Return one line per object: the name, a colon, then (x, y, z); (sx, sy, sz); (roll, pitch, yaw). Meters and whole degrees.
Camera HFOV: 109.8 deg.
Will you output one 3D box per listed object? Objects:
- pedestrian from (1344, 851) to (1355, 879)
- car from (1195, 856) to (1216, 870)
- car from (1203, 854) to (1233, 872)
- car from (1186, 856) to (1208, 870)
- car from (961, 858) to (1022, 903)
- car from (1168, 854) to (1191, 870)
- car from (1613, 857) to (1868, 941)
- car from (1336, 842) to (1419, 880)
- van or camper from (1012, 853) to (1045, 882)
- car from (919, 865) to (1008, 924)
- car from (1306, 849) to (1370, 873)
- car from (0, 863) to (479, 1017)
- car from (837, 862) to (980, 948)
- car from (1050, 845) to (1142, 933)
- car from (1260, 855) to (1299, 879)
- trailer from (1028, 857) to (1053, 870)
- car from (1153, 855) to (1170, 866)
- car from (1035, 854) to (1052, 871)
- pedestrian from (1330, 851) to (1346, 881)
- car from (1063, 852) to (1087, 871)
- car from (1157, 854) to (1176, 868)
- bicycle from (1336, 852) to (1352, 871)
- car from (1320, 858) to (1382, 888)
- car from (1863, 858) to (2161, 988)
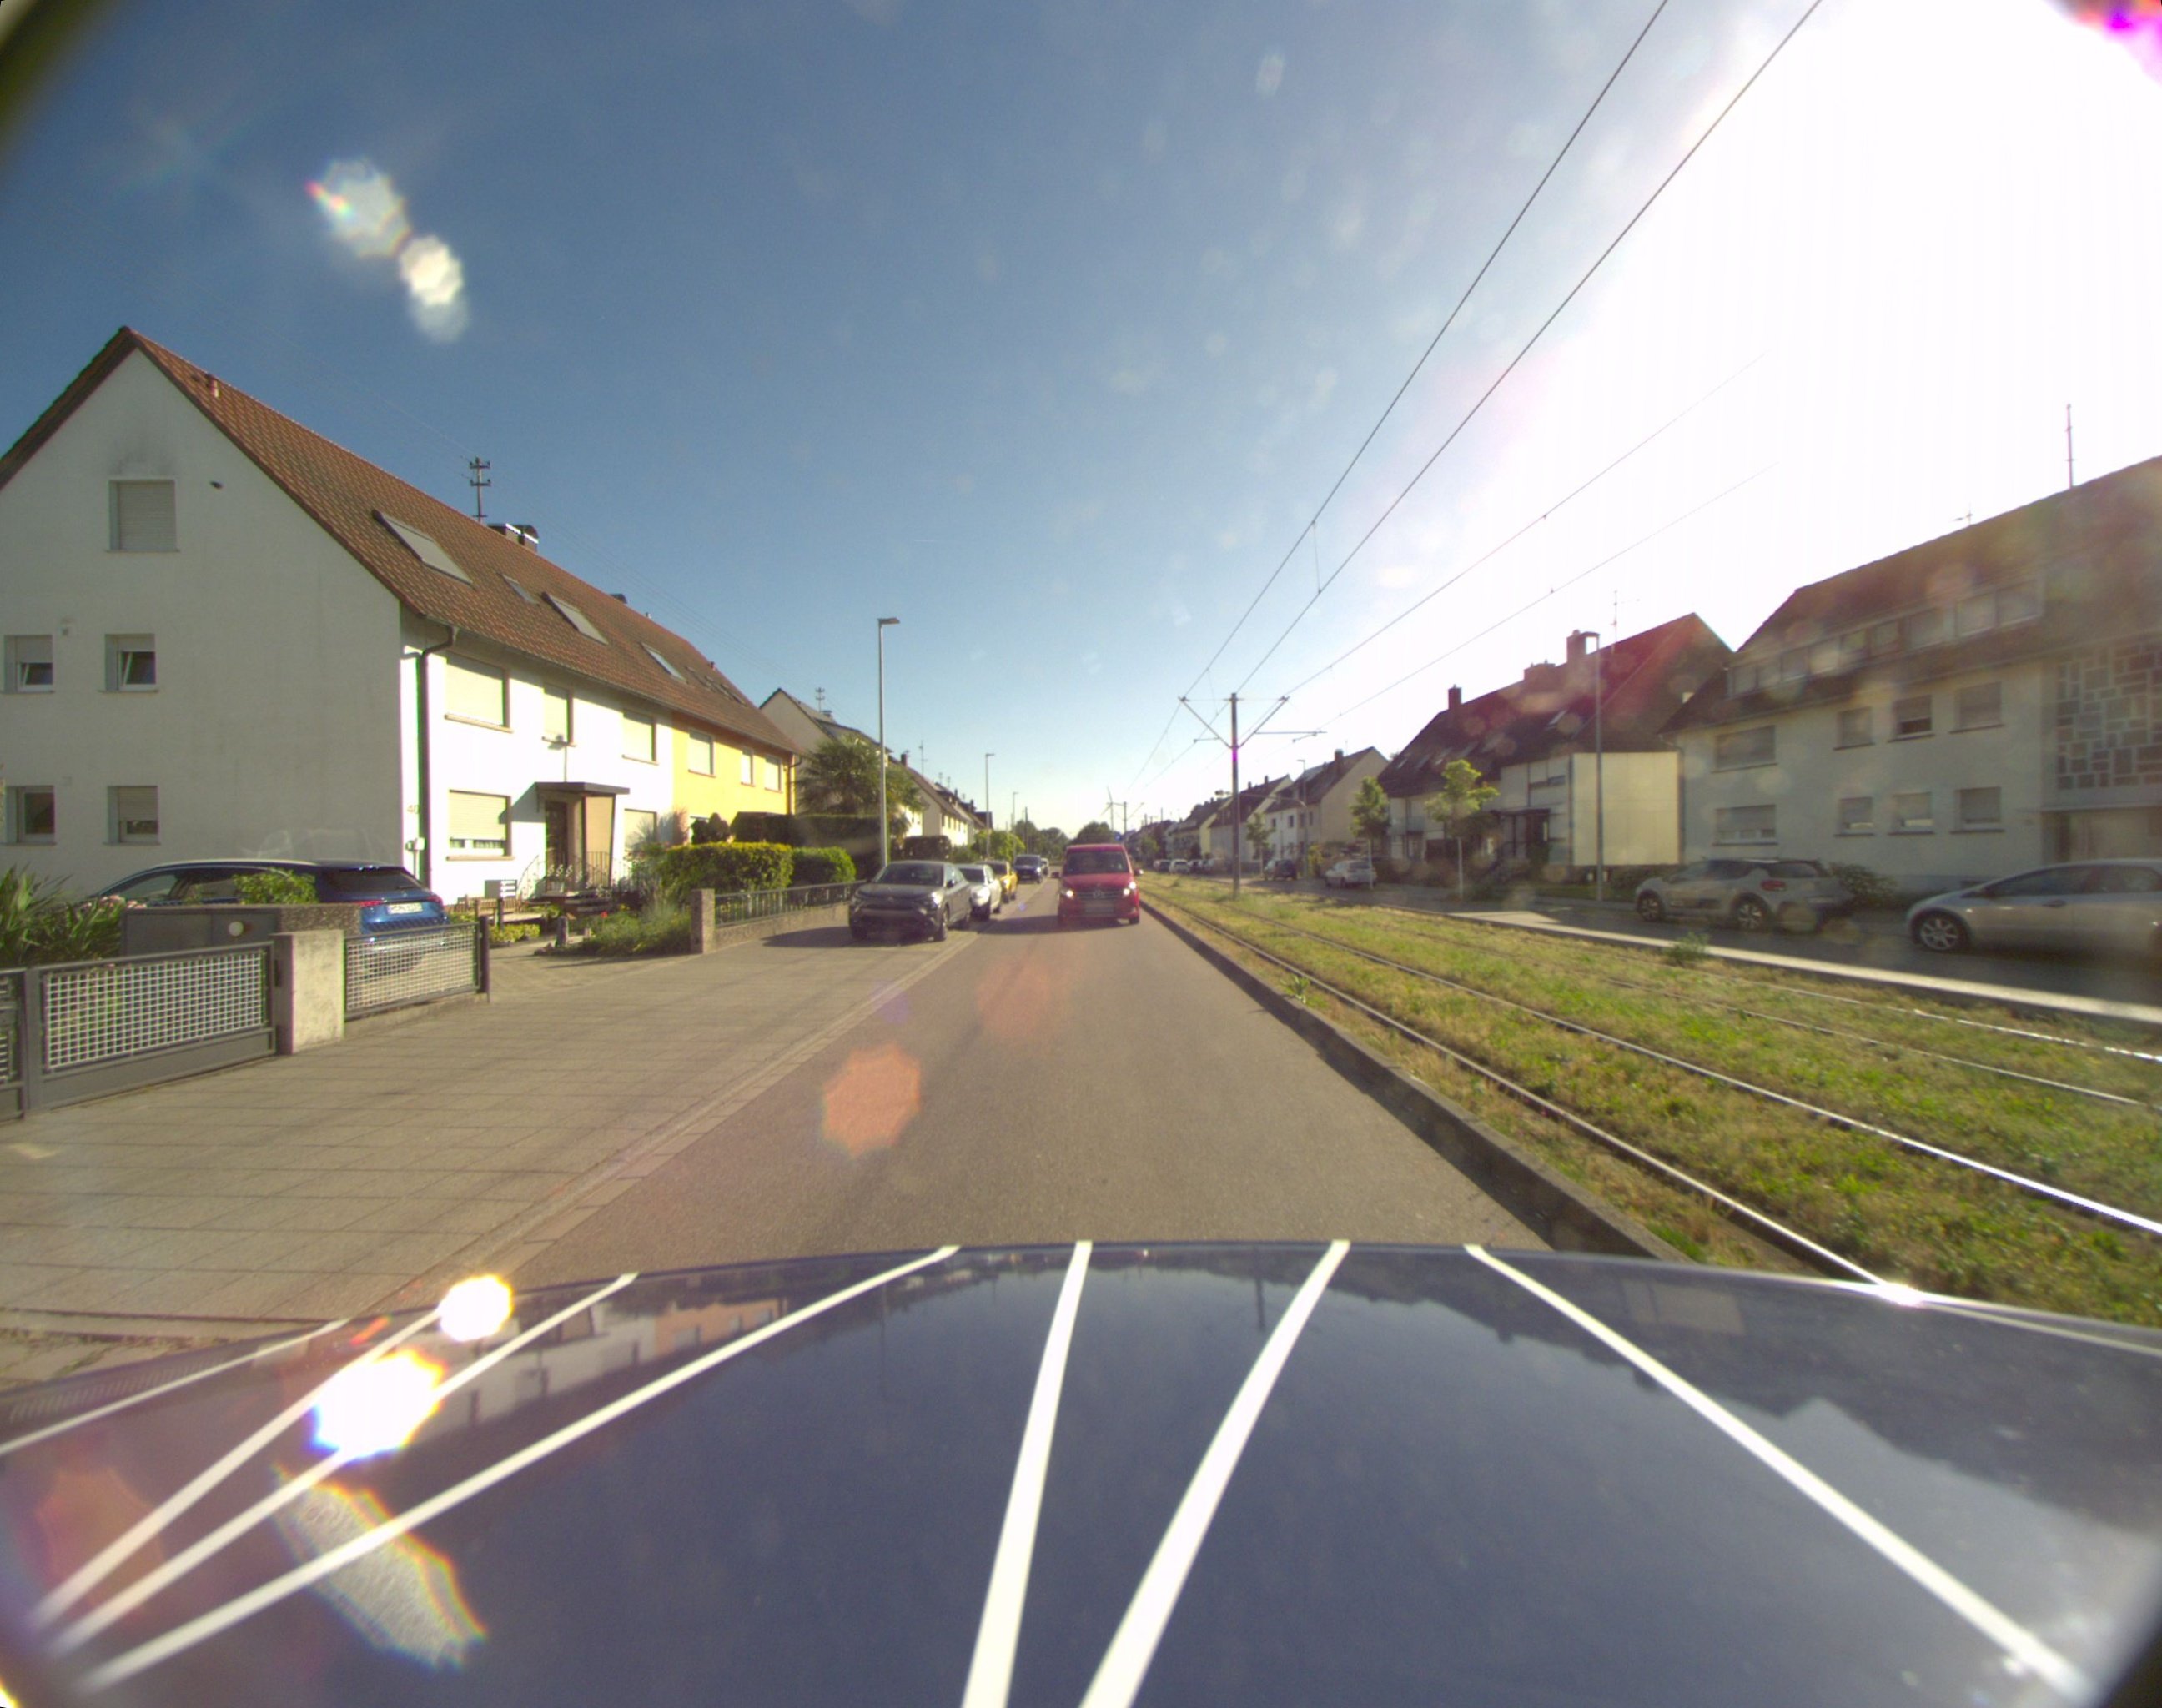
pedestrian: (16.682, 0.691, 47.147); (0.552, 1.678, 0.624); (-2, 1, 15)
car: (12.921, 0.957, 79.084); (1.469, 1.459, 3.998); (0, -1, -2)
car: (13.261, 0.833, 73.790); (1.926, 1.551, 4.857); (-2, 0, -2)
car: (12.842, 0.989, 84.170); (1.658, 1.447, 4.400); (-2, 0, -1)
car: (-3.381, 0.973, 29.539); (1.810, 1.550, 4.926); (0, 0, 0)
car: (9.635, 0.755, 74.288); (1.693, 1.467, 3.679); (1, 0, -1)
car: (13.924, 0.862, 16.442); (1.693, 1.464, 4.314); (-2, 0, -1)
car: (18.786, 0.414, 48.205); (4.472, 2.068, 1.787); (-4, 1, 1)
van or camper: (-3.474, 0.862, 51.096); (1.954, 1.836, 5.581); (0, 0, -1)
car: (-3.140, 1.041, 21.133); (1.752, 1.438, 4.699); (0, -1, 0)
car: (20.445, 0.580, 60.473); (4.403, 1.773, 1.970); (-1, 0, -1)
car: (-10.917, 1.000, 9.819); (4.426, 1.645, 2.196); (-1, 1, -3)
car: (-3.364, 0.926, 15.806); (1.782, 1.490, 4.728); (0, 0, 1)
car: (0.291, 0.761, 19.499); (1.999, 1.889, 5.389); (-2, 0, -1)
car: (13.622, 0.858, 52.299); (1.623, 1.503, 4.085); (-2, 0, 1)
trailer: (-3.983, 0.913, 74.318); (2.278, 1.124, 6.434); (2, 0, -4)
car: (11.786, 0.960, 111.287); (1.832, 1.522, 4.092); (-2, 0, -1)
car: (-4.208, 0.952, 84.685); (1.796, 1.752, 4.583); (2, 0, -3)
pedestrian: (15.673, 0.721, 46.293); (0.617, 1.805, 0.678); (-2, 1, -9)
car: (-0.566, 0.678, 68.865); (1.862, 1.592, 4.327); (2, 0, -3)
car: (9.942, 0.761, 88.592); (1.693, 1.467, 4.082); (-2, 0, -1)
bicycle: (15.978, 0.442, 46.158); (0.478, 1.156, 1.872); (-2, 1, 5)
car: (13.963, 0.936, 39.556); (1.662, 1.428, 4.102); (-1, 0, -1)
car: (13.912, 0.851, 10.445); (1.693, 1.467, 4.442); (-2, 0, -1)
